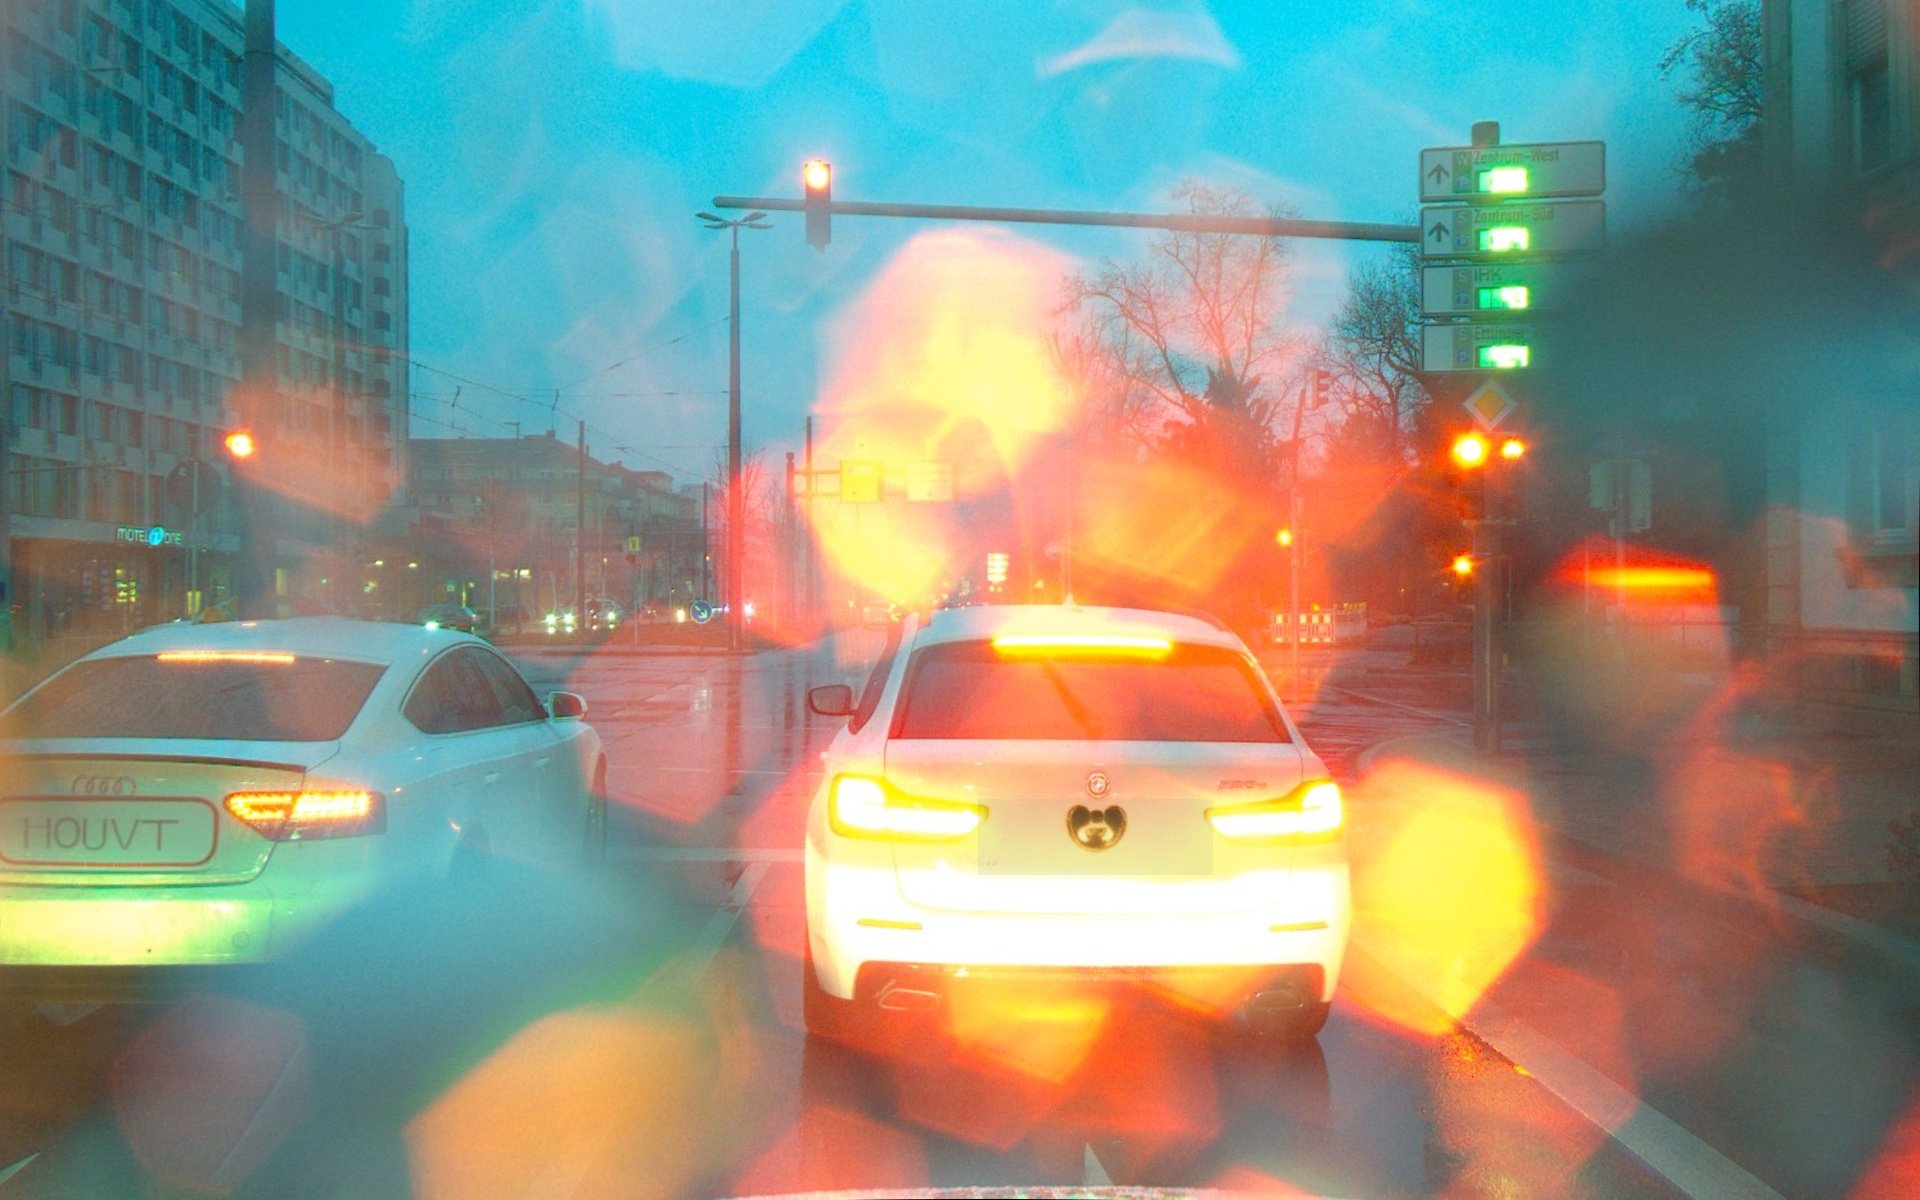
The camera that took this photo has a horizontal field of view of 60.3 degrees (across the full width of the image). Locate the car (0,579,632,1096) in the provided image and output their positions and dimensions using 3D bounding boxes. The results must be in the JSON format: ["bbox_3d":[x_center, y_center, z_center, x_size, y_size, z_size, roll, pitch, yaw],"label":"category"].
[{"bbox_3d":[-2.574,0.699,6.925,1.724,1.495,4.249,1,0,-3],"label":"car"}]

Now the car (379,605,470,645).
[{"bbox_3d":[-21.071,0.968,65.287,1.953,1.487,5.094,1,0,-1],"label":"car"}]

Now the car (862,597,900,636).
[{"bbox_3d":[-4.333,0.892,91.308,1.953,2.049,3.999,1,0,-1],"label":"car"}]

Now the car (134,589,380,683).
[{"bbox_3d":[-13.515,0.684,32.026,3.997,1.716,1.954,1,0,-11],"label":"car"}]

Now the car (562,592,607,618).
[{"bbox_3d":[-22.639,0.282,99.890,1.954,1.487,5.090,1,0,-5],"label":"car"}]

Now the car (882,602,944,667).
[{"bbox_3d":[-1.547,1.103,55.020,1.953,2.049,3.999,1,0,-1],"label":"car"}]

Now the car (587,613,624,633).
[{"bbox_3d":[-27.441,1.750,128.078,1.954,1.487,5.092,1,0,-3],"label":"car"}]

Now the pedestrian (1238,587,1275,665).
[{"bbox_3d":[7.355,0.641,41.069,0.700,1.912,0.673,1,-1,-11],"label":"pedestrian"}]

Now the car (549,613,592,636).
[{"bbox_3d":[-27.126,1.698,115.318,1.954,1.487,5.092,1,0,-3],"label":"car"}]

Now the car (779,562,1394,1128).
[{"bbox_3d":[0.263,0.707,6.797,1.724,1.580,4.249,1,0,-3],"label":"car"}]
